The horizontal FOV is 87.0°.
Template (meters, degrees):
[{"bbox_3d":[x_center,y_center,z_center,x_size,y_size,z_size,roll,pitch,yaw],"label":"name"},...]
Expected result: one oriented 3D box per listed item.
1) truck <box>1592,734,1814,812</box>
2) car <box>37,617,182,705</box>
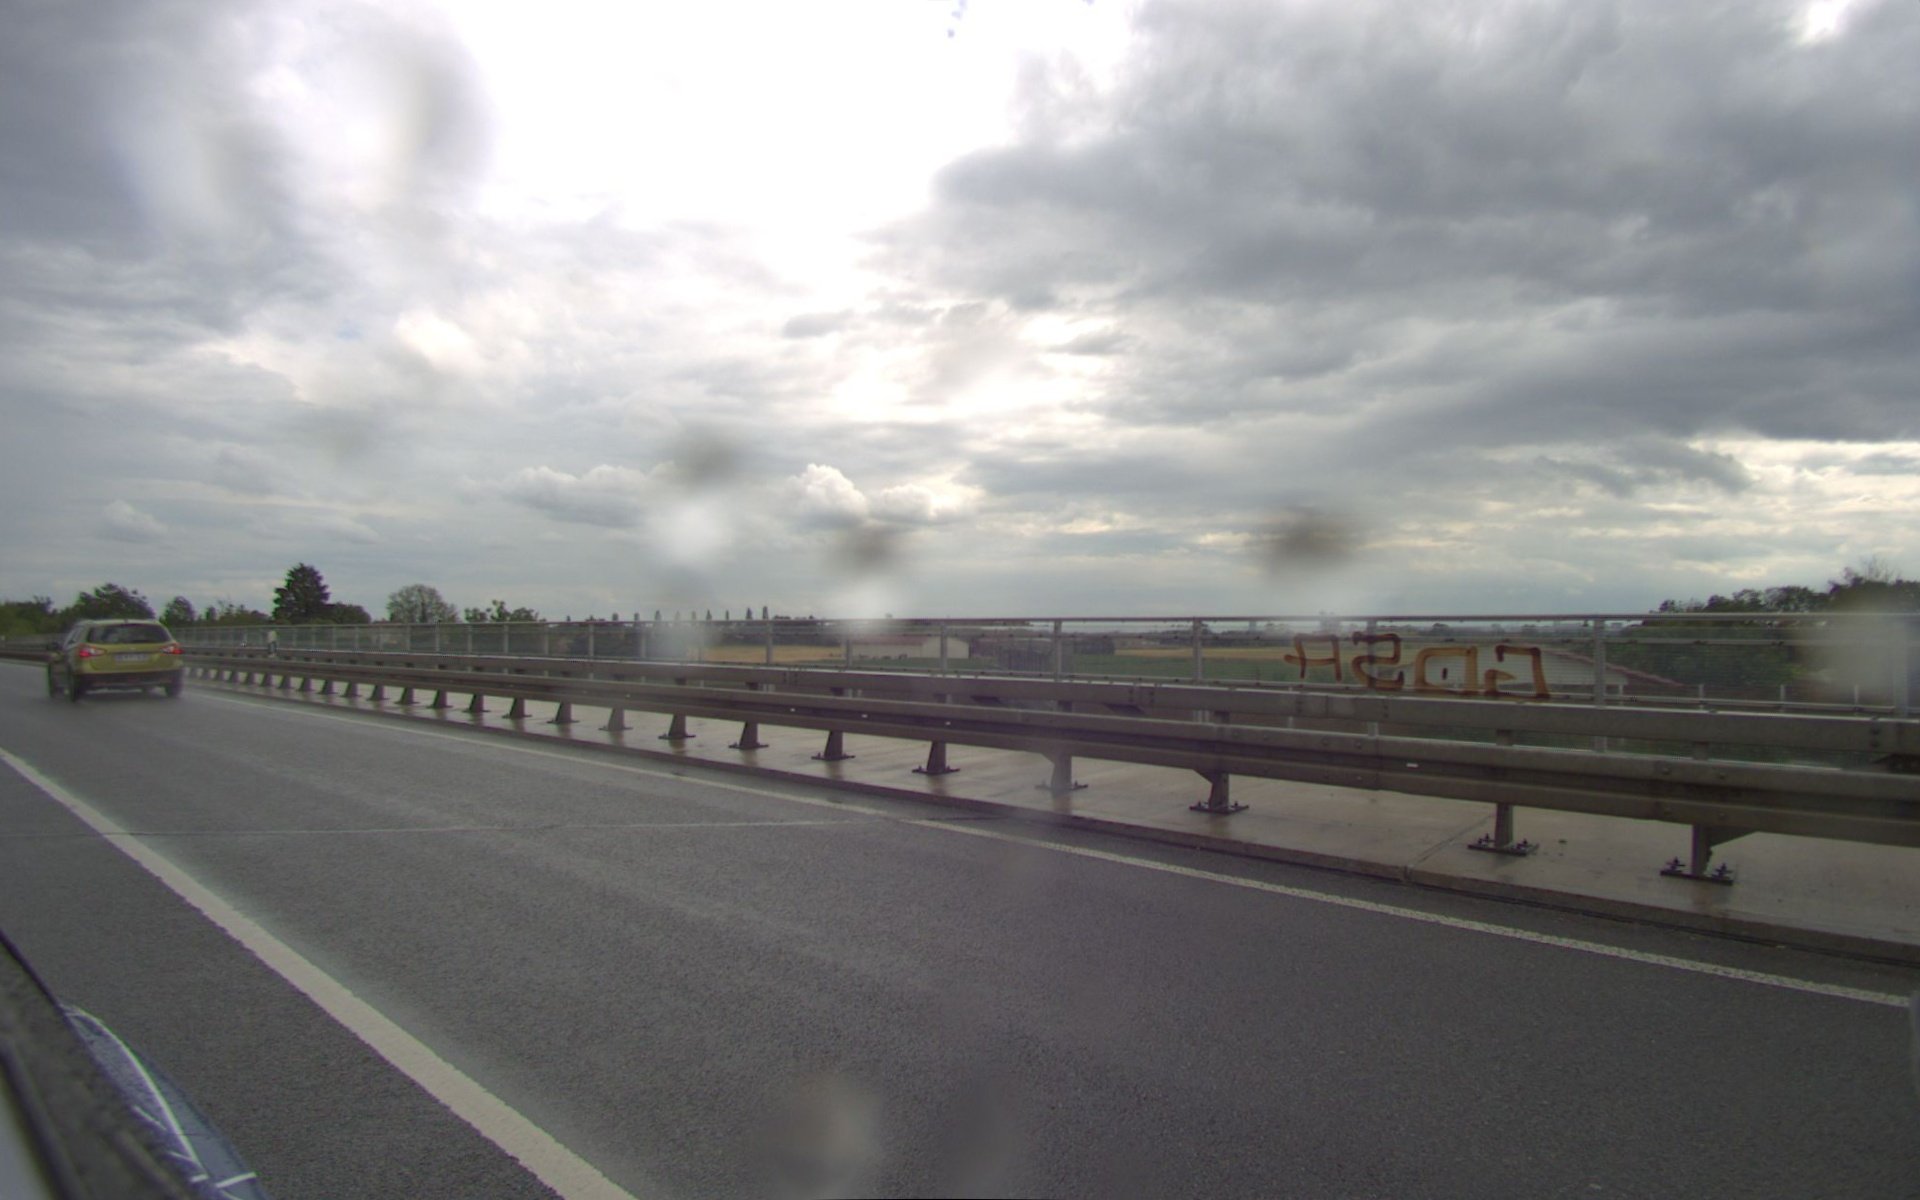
[{"bbox_3d":[42.514,9.879,58.065,11.006,3.791,2.438,-1,-1,-2],"label":"truck"},{"bbox_3d":[-17.165,1.149,20.368,3.858,1.528,1.696,0,0,41],"label":"car"}]
